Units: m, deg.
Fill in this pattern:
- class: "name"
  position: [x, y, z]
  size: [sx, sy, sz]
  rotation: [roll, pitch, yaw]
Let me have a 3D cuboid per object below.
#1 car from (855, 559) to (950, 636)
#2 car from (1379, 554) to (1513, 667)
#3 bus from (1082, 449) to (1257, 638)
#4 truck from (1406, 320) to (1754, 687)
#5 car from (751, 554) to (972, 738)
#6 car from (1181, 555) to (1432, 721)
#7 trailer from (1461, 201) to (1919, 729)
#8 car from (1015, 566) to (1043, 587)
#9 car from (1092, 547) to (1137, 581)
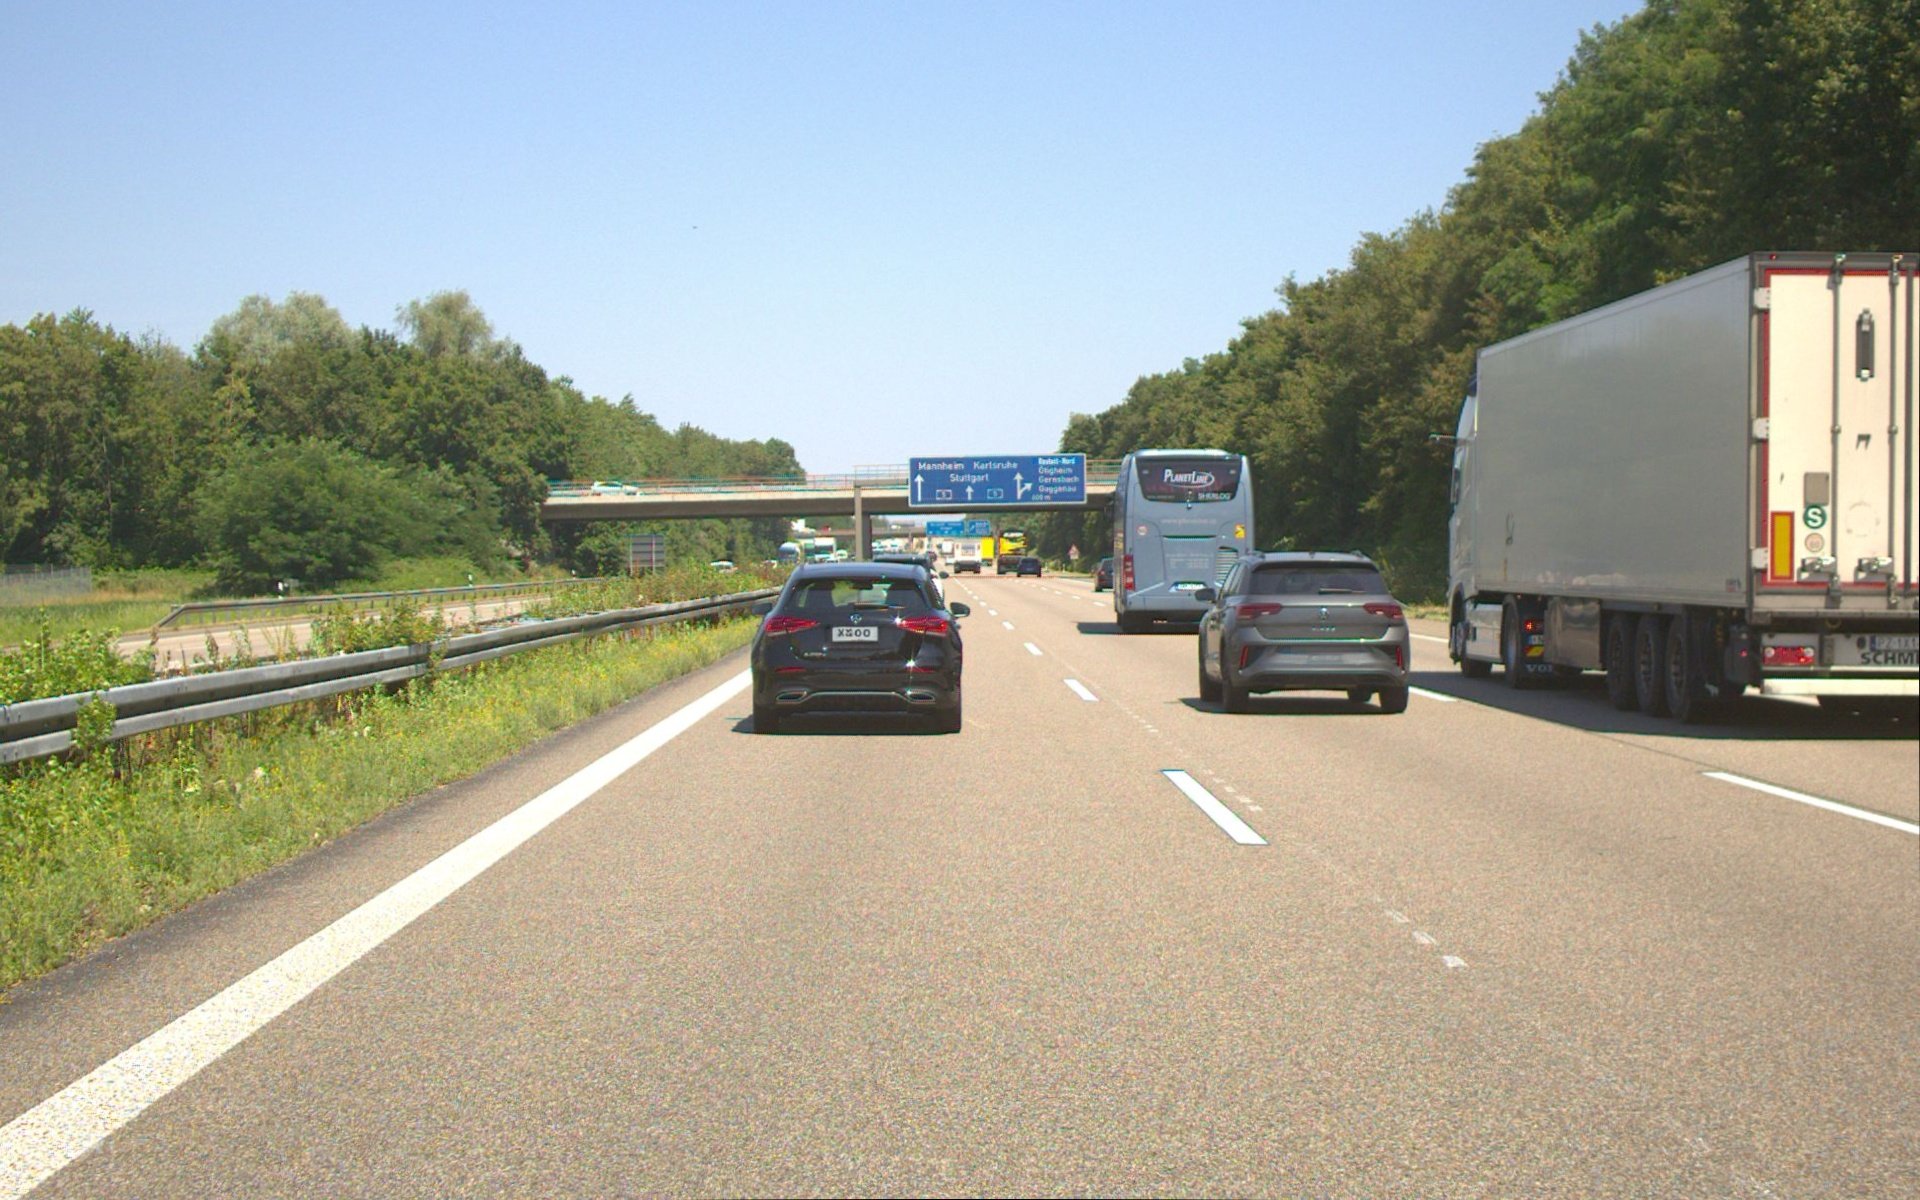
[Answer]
- class: "car"
  position: [-1.209, -0.066, 71.248]
  size: [1.899, 1.527, 4.242]
  rotation: [0, 1, -1]
- class: "car"
  position: [9.434, 0.164, 66.978]
  size: [1.899, 2.113, 4.242]
  rotation: [0, 1, -1]
- class: "bus"
  position: [4.214, -1.135, 71.628]
  size: [2.802, 3.584, 12.475]
  rotation: [0, 1, 0]
- class: "truck"
  position: [7.520, -1.153, 42.534]
  size: [3.047, 4.200, 6.049]
  rotation: [0, 1, -1]
- class: "car"
  position: [-0.863, 0.353, 30.284]
  size: [1.799, 1.497, 4.242]
  rotation: [0, 1, -1]
- class: "car"
  position: [3.370, 0.320, 34.325]
  size: [1.899, 1.527, 4.760]
  rotation: [0, 1, -1]
- class: "trailer"
  position: [7.724, -1.173, 34.403]
  size: [3.039, 4.210, 13.837]
  rotation: [0, 1, -1]
- class: "car"
  position: [5.235, -1.780, 260.410]
  size: [2.081, 1.527, 4.241]
  rotation: [0, 1, 0]
- class: "car"
  position: [6.673, -1.561, 148.436]
  size: [1.789, 1.456, 3.949]
  rotation: [0, 1, 0]
